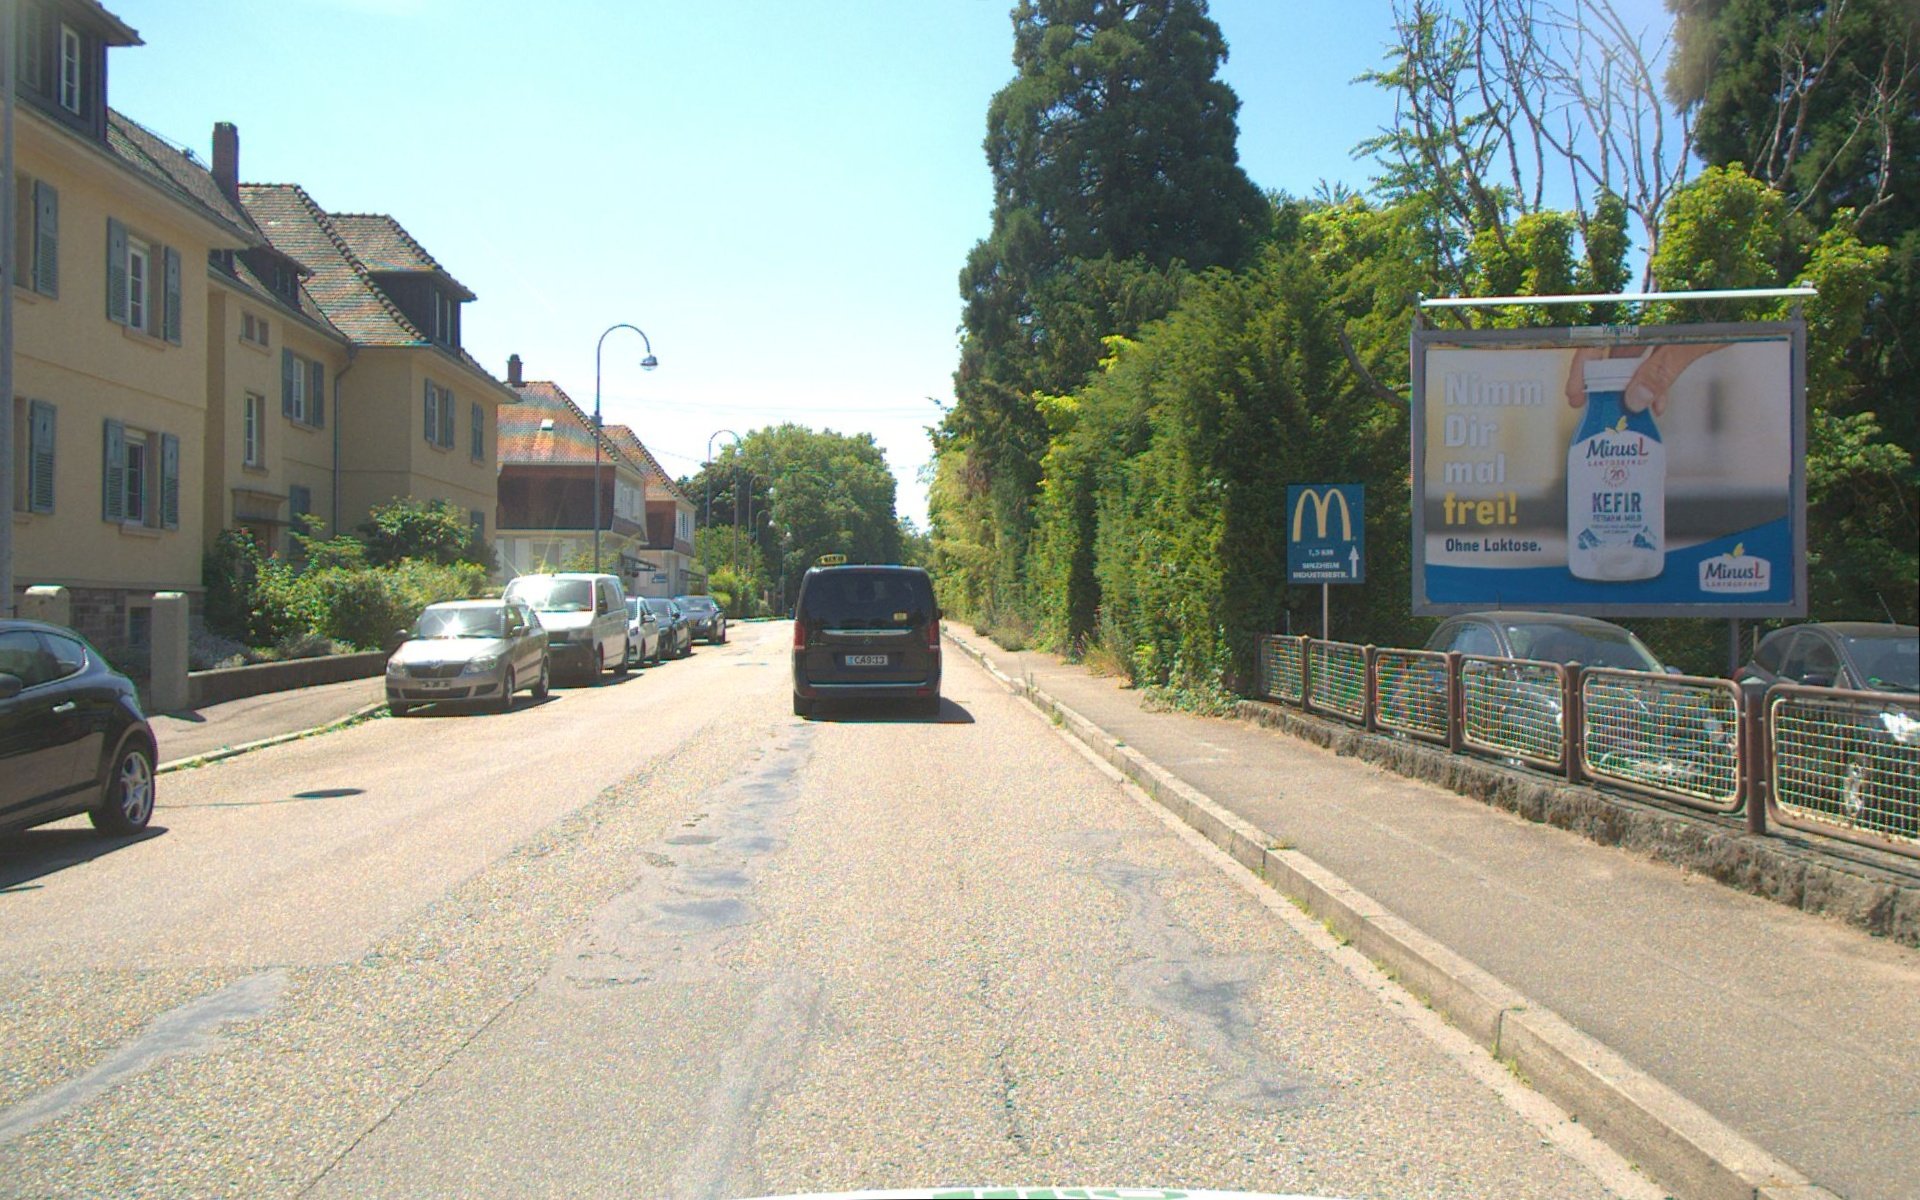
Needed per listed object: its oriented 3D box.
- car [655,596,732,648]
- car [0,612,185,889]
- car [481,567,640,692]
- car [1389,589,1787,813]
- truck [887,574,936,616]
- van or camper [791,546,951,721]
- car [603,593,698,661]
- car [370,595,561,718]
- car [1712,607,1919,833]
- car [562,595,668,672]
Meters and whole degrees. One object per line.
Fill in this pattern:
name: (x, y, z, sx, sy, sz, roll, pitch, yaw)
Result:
car: (-7.861, 0.613, 49.157, 1.632, 1.410, 4.379, -2, 0, -2)
car: (-6.142, 0.862, 9.448, 1.682, 1.511, 4.073, -2, 0, -4)
car: (-7.085, 0.475, 29.774, 1.840, 1.997, 4.623, -3, 0, -3)
car: (4.870, 0.711, 13.371, 1.599, 1.484, 3.553, 3, 0, -4)
truck: (-2.766, -0.264, 92.528, 2.310, 2.298, 6.083, 0, 0, -6)
van or camper: (-1.150, 0.400, 22.178, 1.864, 2.049, 5.267, 1, 0, -2)
car: (-7.400, 0.601, 39.913, 1.632, 1.519, 4.463, 0, 0, -3)
car: (-6.921, 0.725, 23.561, 1.653, 1.552, 4.060, -1, 0, -3)
car: (7.496, 0.899, 13.183, 1.597, 1.570, 3.394, 3, 0, 4)
car: (-7.312, 0.672, 35.359, 1.632, 1.519, 3.476, -2, 0, -3)
